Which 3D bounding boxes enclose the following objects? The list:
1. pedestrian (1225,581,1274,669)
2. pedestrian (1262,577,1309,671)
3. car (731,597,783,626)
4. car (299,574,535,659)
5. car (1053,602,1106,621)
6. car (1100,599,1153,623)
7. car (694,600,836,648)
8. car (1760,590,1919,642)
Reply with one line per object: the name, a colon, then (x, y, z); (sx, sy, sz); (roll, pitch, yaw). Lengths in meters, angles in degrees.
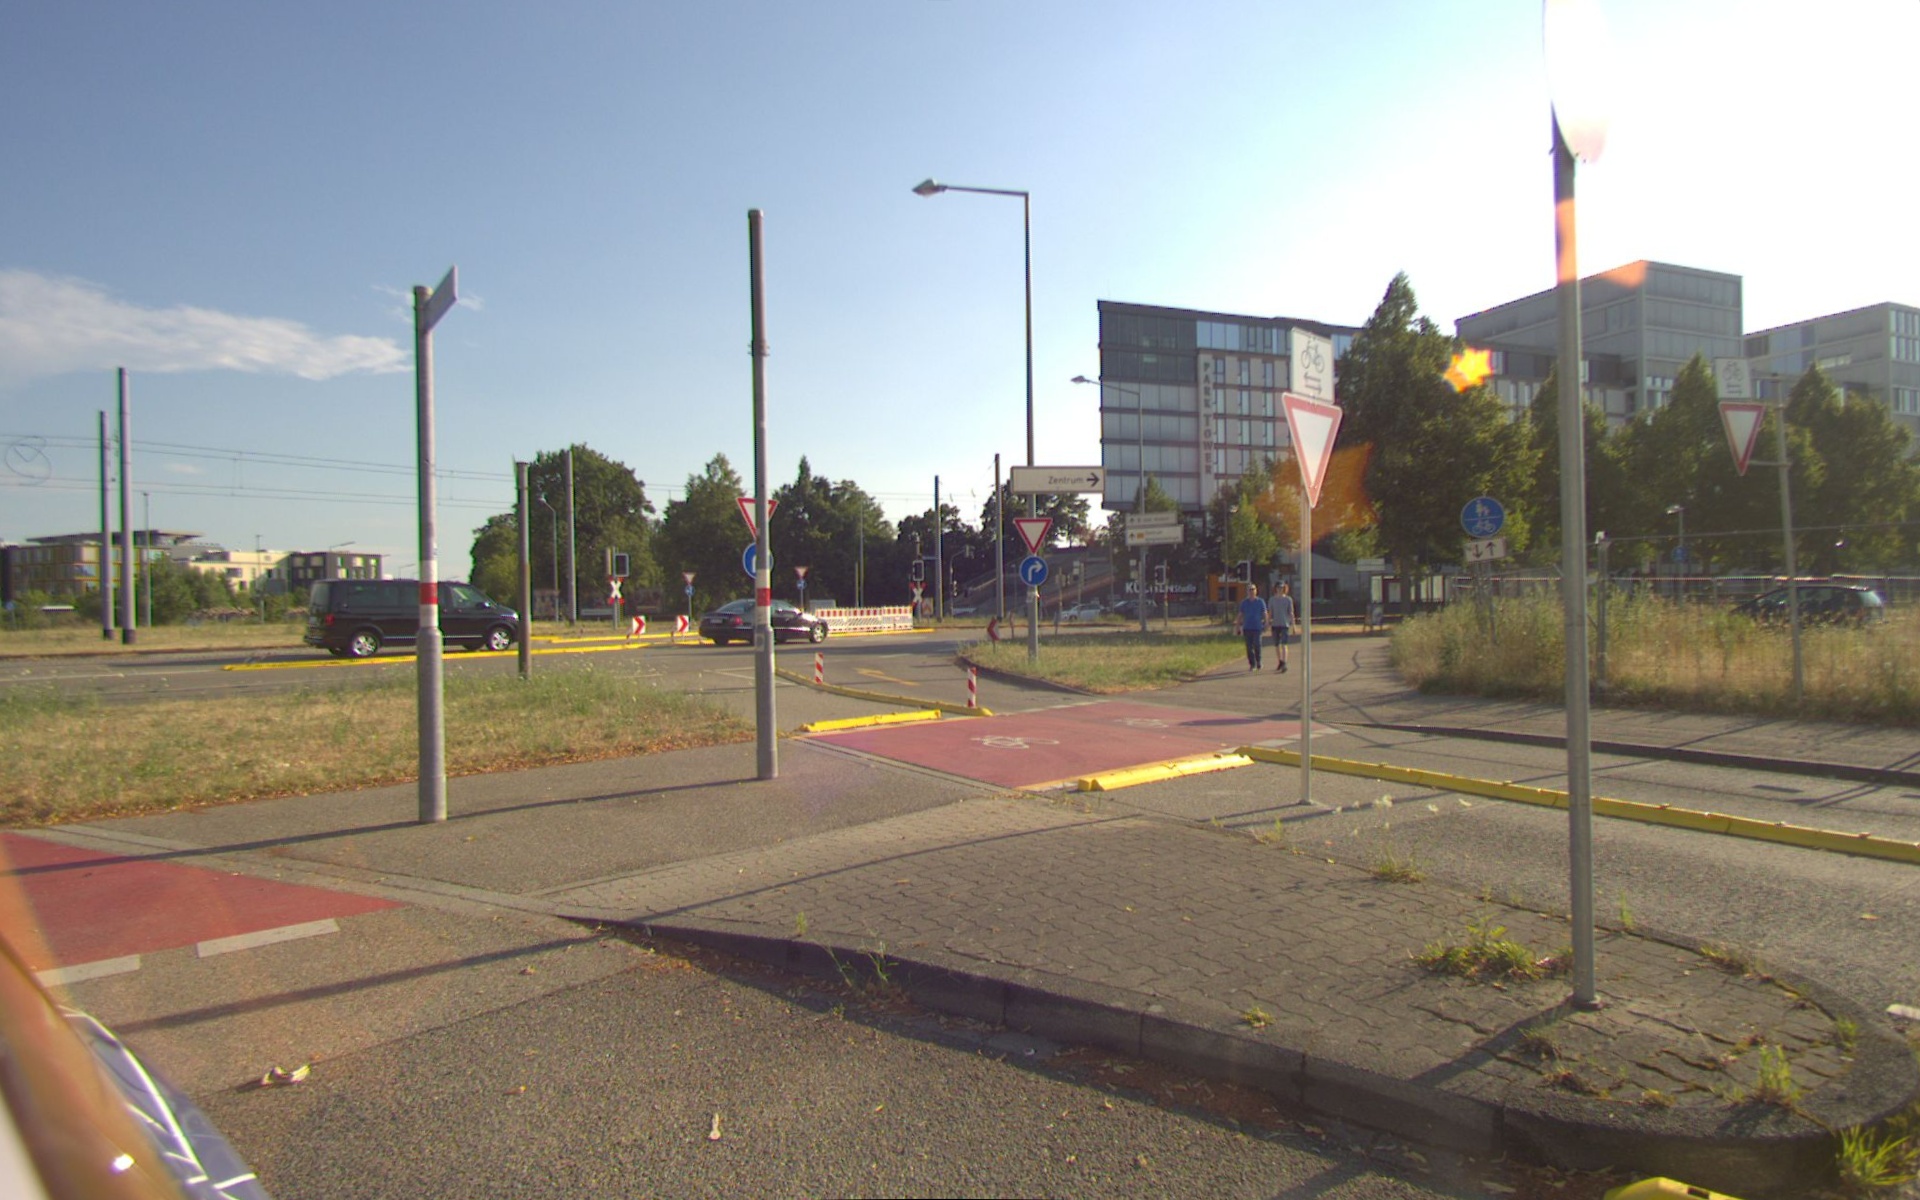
pedestrian: (5.833, 0.499, 20.376); (0.782, 1.721, 0.805); (-1, 0, 28)
pedestrian: (6.336, 0.456, 19.692); (0.756, 1.789, 0.765); (-1, 0, 26)
car: (-12.068, 0.674, 60.021); (1.965, 1.586, 4.013); (-1, 0, -27)
car: (-14.411, 0.363, 27.092); (2.095, 2.062, 5.169); (-1, 0, 43)
car: (8.746, 0.839, 74.059); (3.443, 1.249, 1.664); (-1, 0, -18)
car: (11.637, 0.782, 70.876); (3.284, 1.586, 1.567); (-1, 0, -10)
car: (-6.155, 0.730, 32.431); (1.837, 1.417, 4.650); (-1, -1, 31)
car: (25.147, 0.426, 28.098); (1.968, 1.373, 4.253); (-1, 0, -38)
